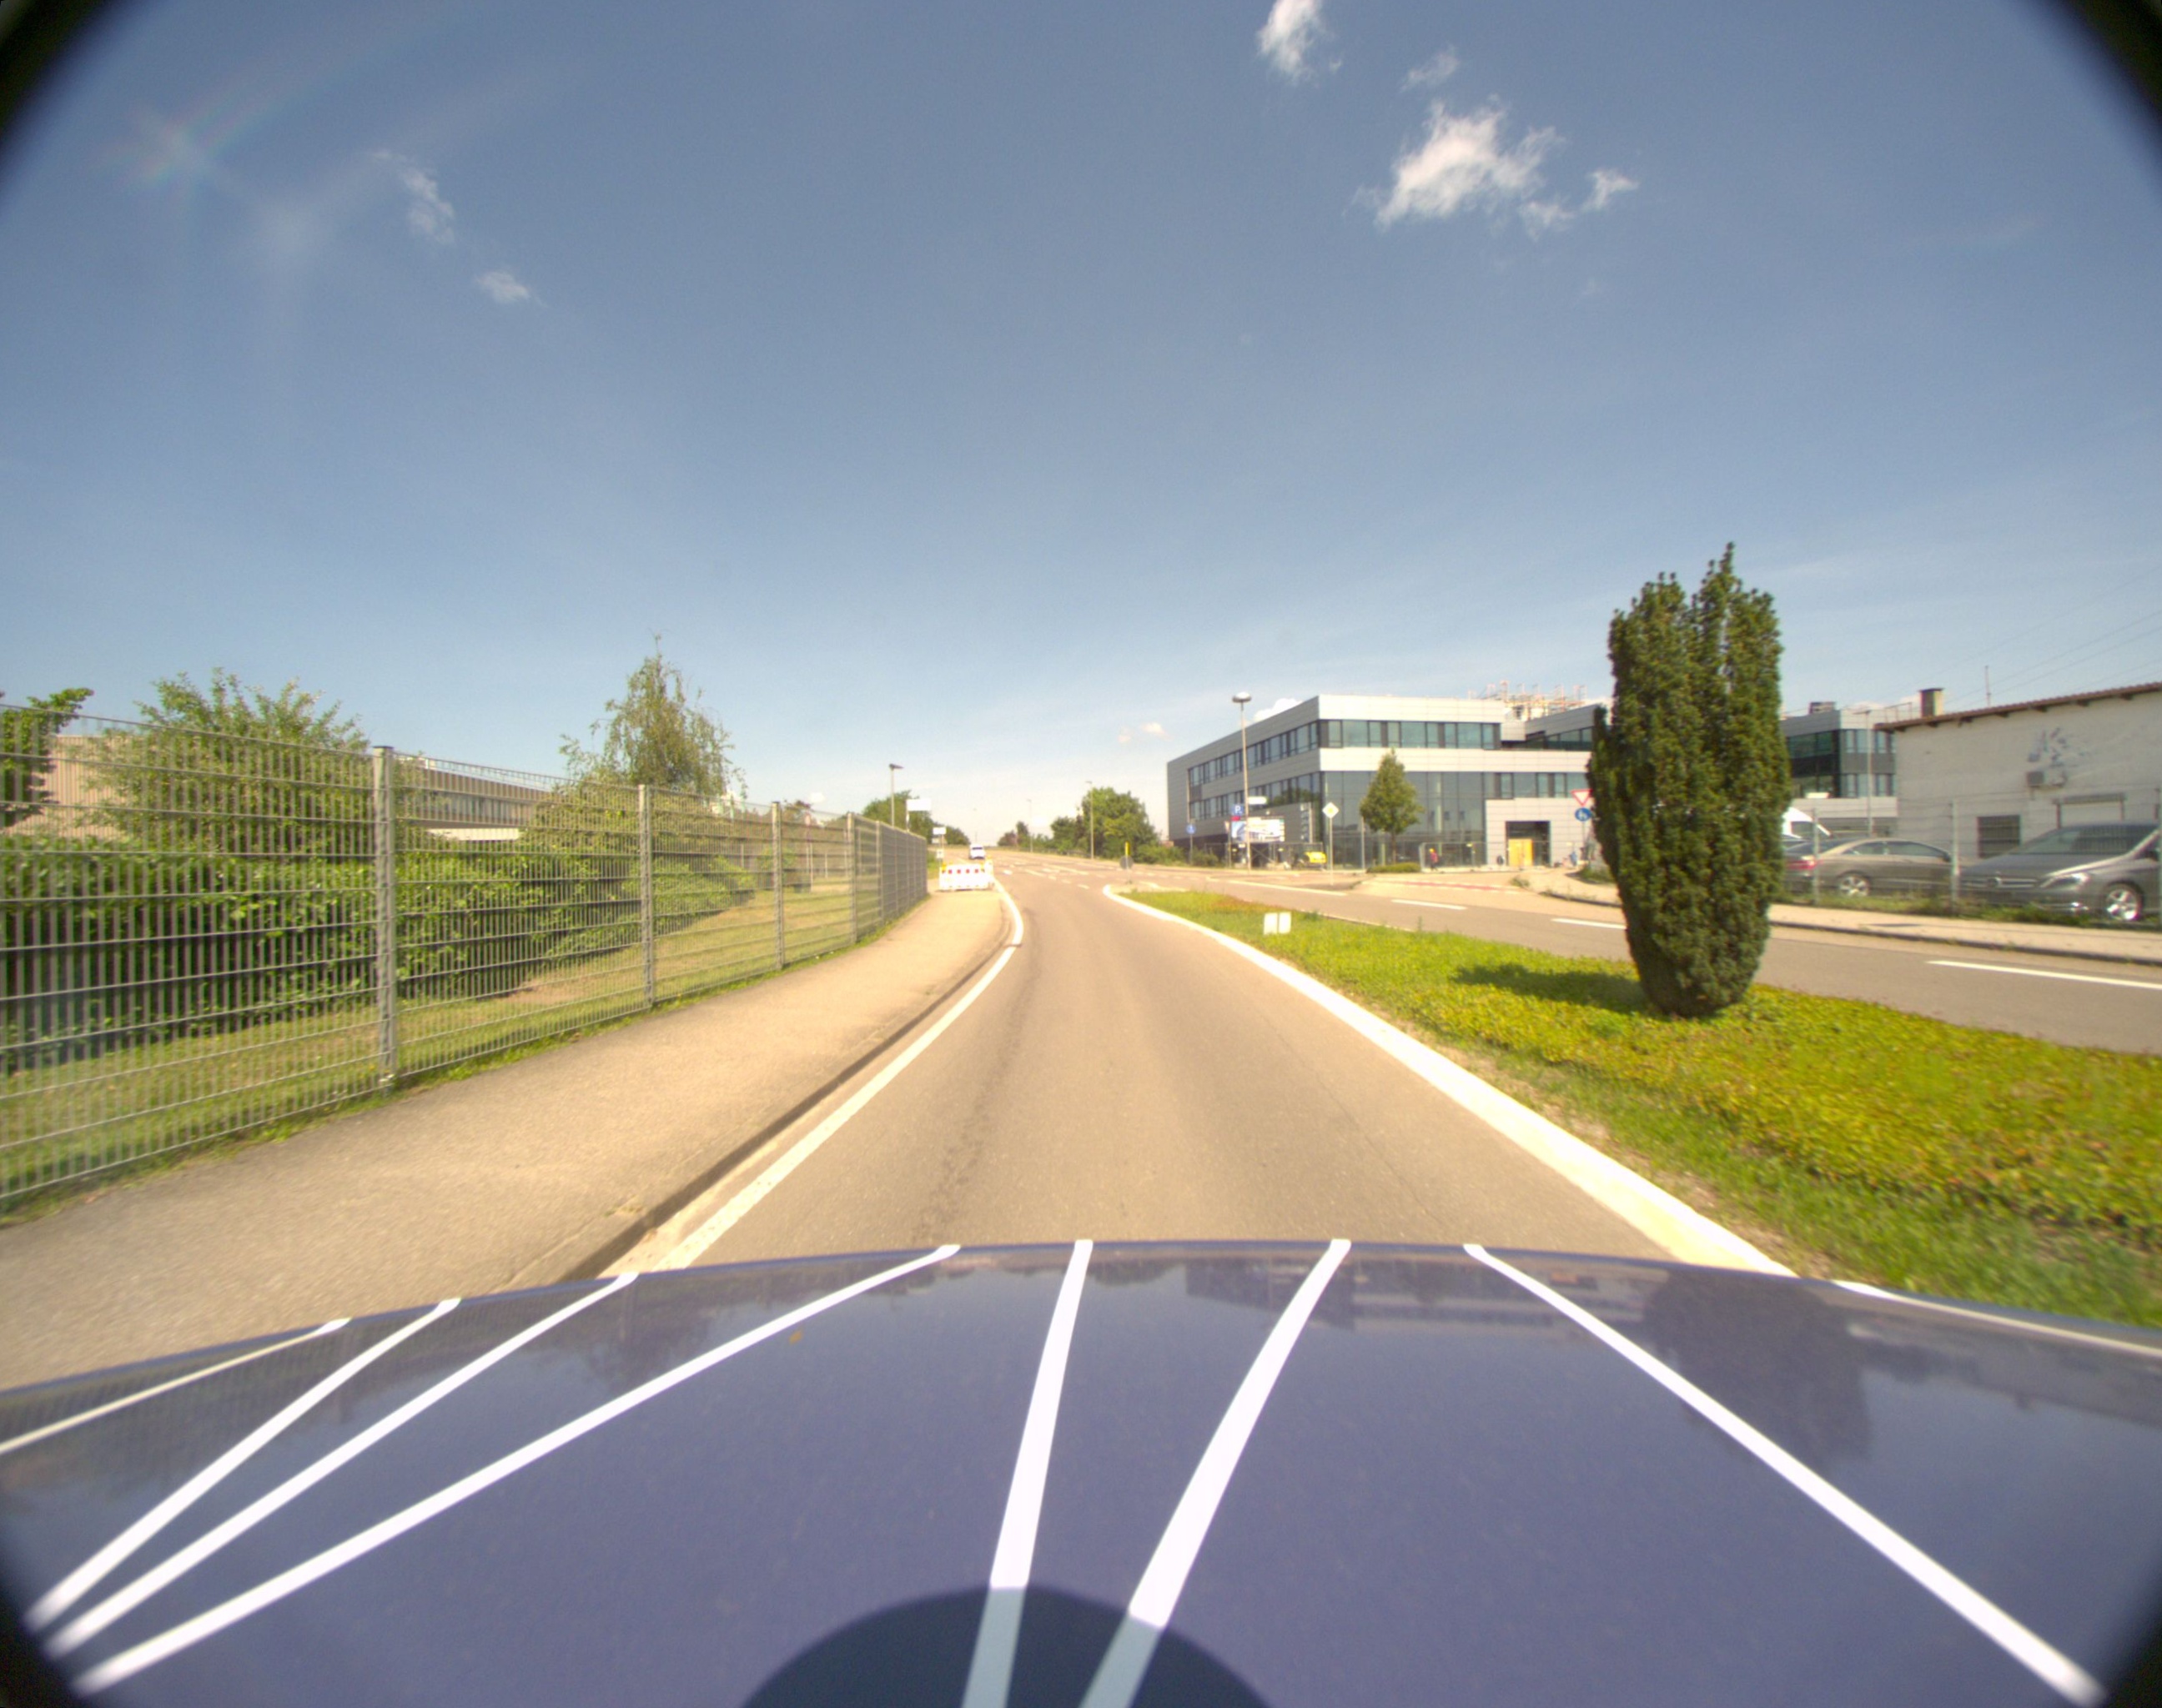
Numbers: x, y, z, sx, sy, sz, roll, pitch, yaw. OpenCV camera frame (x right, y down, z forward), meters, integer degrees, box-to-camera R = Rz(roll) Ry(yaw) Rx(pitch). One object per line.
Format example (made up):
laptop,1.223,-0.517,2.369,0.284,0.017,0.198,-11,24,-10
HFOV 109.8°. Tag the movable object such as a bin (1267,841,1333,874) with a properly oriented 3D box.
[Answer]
movable object such as a bin,16.856,0.253,58.833,2.174,2.396,5.451,-2,0,-19

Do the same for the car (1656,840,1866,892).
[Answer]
car,18.856,0.341,21.281,3.993,1.313,1.837,-1,0,12

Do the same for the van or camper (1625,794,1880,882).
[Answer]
van or camper,20.568,-0.430,23.627,5.577,2.483,2.081,-1,1,18

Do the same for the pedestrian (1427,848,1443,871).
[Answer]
pedestrian,26.911,0.377,57.703,0.782,1.718,0.774,-2,1,-13

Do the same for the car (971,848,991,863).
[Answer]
car,-13.002,0.186,98.817,2.001,1.903,3.994,-1,0,-15

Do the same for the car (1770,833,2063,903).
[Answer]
car,17.333,0.293,15.985,3.884,1.313,1.693,-1,0,12

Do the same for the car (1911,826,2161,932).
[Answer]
car,16.197,0.334,12.050,3.998,1.510,1.999,-1,0,-3

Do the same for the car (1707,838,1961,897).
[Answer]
car,18.340,0.323,18.746,3.993,1.313,2.002,-1,0,12
